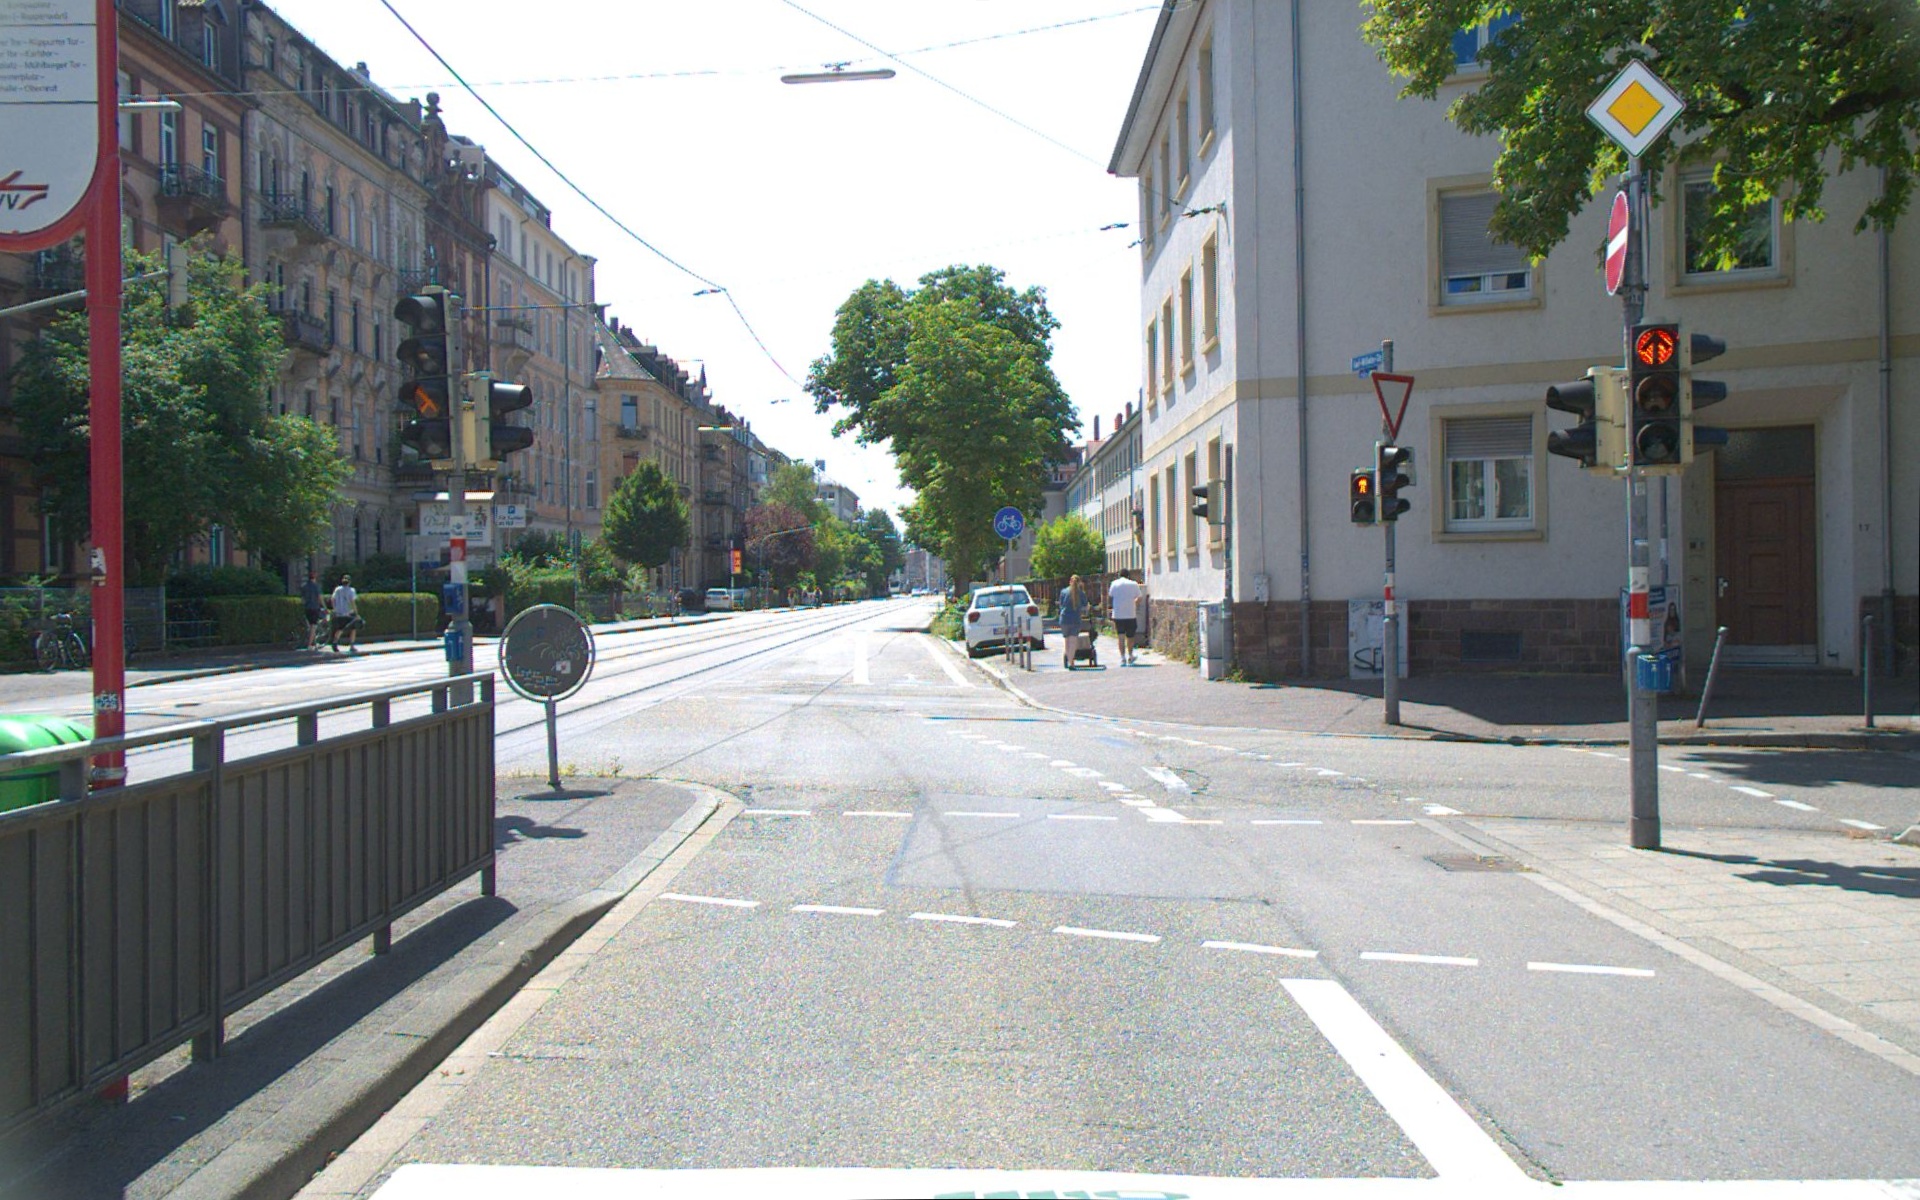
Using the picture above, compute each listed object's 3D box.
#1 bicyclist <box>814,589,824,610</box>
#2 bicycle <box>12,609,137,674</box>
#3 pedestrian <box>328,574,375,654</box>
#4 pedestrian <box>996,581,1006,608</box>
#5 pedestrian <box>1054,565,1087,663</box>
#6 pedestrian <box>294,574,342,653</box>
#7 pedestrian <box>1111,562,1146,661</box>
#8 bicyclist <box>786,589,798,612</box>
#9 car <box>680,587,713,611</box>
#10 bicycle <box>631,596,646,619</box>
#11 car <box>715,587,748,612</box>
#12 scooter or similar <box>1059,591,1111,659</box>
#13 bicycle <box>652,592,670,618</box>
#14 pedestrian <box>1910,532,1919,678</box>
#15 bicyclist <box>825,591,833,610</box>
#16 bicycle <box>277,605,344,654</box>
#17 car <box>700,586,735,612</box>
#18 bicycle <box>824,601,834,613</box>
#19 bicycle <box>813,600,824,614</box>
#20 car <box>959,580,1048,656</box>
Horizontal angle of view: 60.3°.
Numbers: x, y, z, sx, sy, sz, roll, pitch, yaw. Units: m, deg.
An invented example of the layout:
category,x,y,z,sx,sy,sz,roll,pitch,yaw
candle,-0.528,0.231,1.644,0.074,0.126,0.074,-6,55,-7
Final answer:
category,x,y,z,sx,sy,sz,roll,pitch,yaw
bicyclist,-11.763,-0.036,137.791,0.712,1.799,1.079,1,0,1
bicycle,-16.713,0.760,31.304,0.918,1.156,2.773,1,0,-2
pedestrian,-14.548,0.326,39.559,0.799,1.854,0.873,1,1,-2
pedestrian,2.431,-0.348,97.804,0.511,1.590,0.573,-1,0,-1
pedestrian,1.901,0.239,28.474,0.545,1.674,0.677,1,-1,3
pedestrian,-15.320,0.319,39.457,0.799,1.854,0.873,1,1,-2
pedestrian,2.920,0.198,28.693,0.545,1.674,0.677,1,-1,3
bicyclist,-12.333,0.035,121.538,0.712,1.657,1.079,1,0,1
car,-19.676,-0.070,123.607,1.880,1.745,3.999,1,0,-1
bicycle,-15.500,0.335,79.787,0.665,1.083,1.913,-1,0,-12
car,-17.045,-0.025,123.573,1.880,1.745,3.999,1,0,-1
scooter or similar,2.223,0.440,29.358,0.545,1.175,1.205,1,0,23
bicycle,-15.277,0.249,84.434,0.664,1.301,1.917,-1,0,-4
pedestrian,11.147,0.090,18.259,1.034,1.719,0.652,-4,3,31
bicyclist,-12.632,0.038,159.491,0.712,1.850,1.079,1,0,1
bicycle,-15.882,0.700,40.514,0.920,1.156,2.767,1,0,-9
car,-16.876,-0.056,115.312,1.880,1.745,3.999,1,0,-1
bicycle,-12.640,0.682,159.518,0.712,1.142,2.085,1,0,1
bicycle,-11.780,0.604,137.782,0.712,1.142,2.085,1,0,1
car,0.928,0.398,37.330,1.778,1.542,3.999,-3,0,-1
